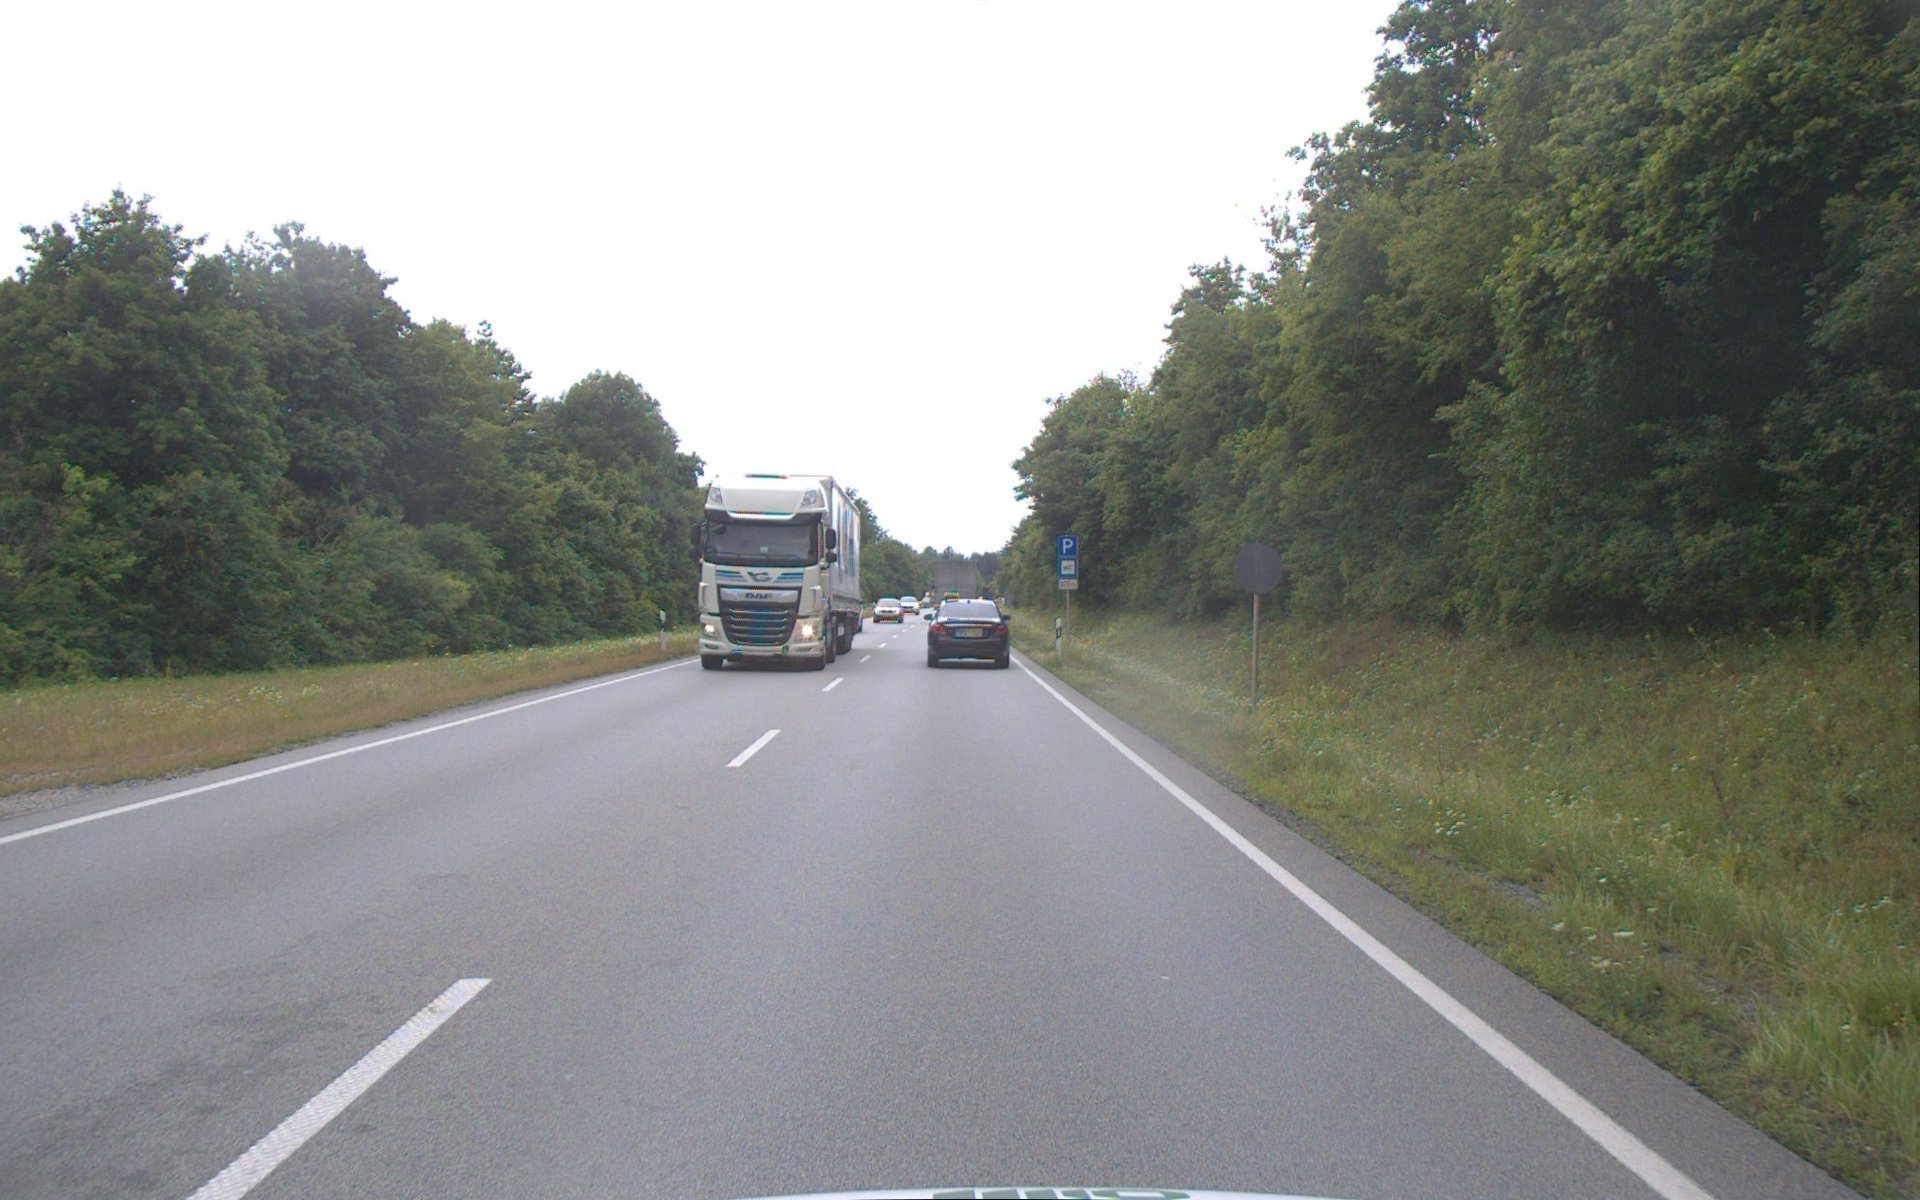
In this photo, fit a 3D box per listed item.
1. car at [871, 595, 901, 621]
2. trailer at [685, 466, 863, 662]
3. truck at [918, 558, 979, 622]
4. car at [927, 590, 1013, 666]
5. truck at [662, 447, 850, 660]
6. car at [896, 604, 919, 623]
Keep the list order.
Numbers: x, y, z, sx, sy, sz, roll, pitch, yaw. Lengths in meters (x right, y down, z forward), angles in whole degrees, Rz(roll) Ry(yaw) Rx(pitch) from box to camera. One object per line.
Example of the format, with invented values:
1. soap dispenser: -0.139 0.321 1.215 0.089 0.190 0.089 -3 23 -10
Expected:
1. car: -4.471 0.478 100.330 1.690 1.459 4.502 1 0 -1
2. trailer: -4.414 -0.748 42.657 3.138 4.138 14.269 1 0 -1
3. truck: -0.614 -0.547 102.801 3.213 3.675 11.402 1 0 2
4. car: 0.169 0.607 37.194 1.755 1.579 3.998 1 0 -2
5. truck: -4.331 -0.893 37.375 3.125 4.133 9.574 1 0 -1
6. car: -4.597 1.213 145.572 1.924 1.601 5.451 1 0 0
